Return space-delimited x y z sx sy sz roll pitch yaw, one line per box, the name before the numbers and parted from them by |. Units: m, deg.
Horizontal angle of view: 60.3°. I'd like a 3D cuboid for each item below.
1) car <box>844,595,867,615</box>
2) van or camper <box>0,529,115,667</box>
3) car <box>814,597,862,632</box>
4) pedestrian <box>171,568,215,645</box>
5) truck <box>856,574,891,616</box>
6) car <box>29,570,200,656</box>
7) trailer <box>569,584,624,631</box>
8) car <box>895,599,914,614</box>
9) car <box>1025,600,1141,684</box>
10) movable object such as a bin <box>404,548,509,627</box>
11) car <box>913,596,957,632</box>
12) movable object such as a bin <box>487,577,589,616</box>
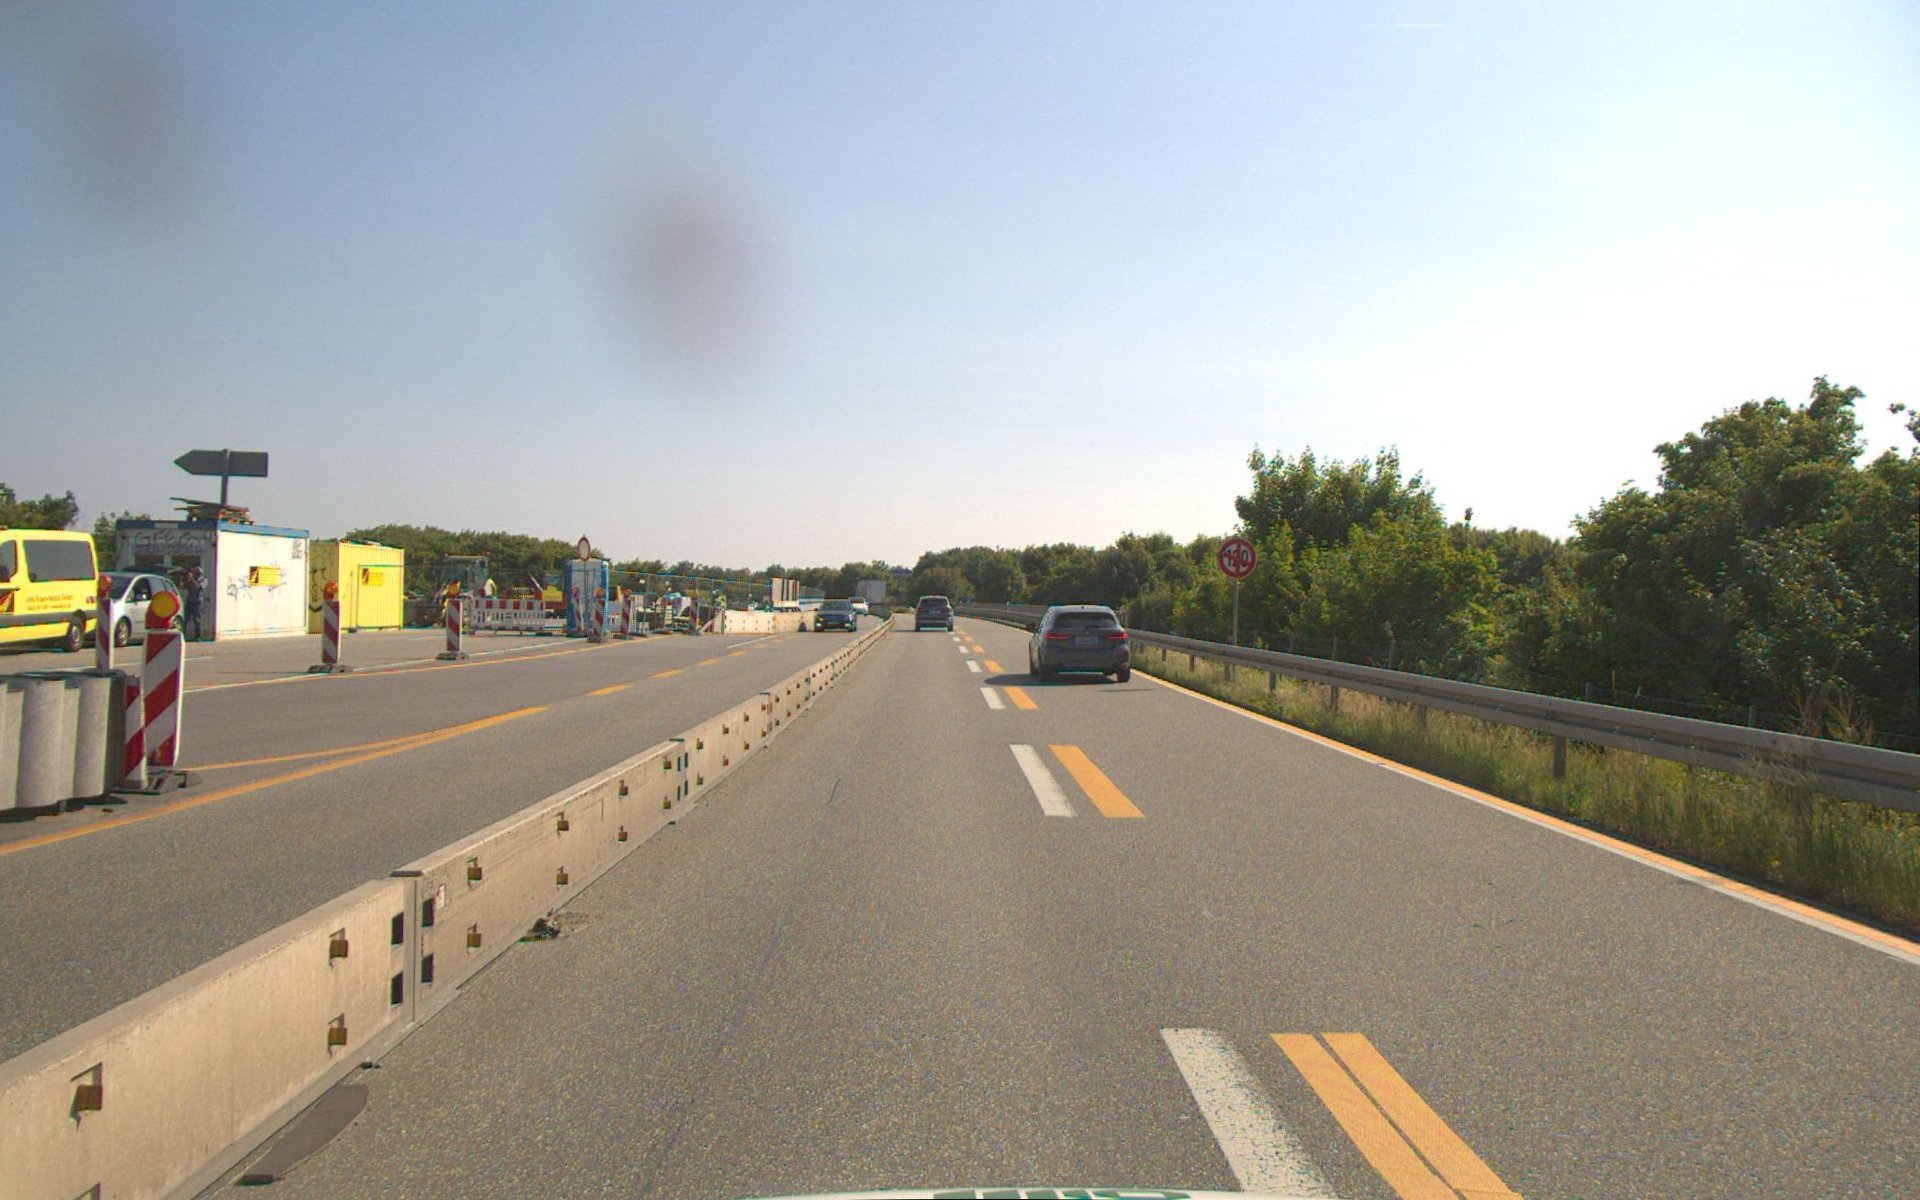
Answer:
car | -9.238 0.415 146.615 1.942 1.680 4.545 1 0 -4
van or camper | -17.985 -0.069 30.711 1.955 2.419 6.193 1 0 -6
car | -5.513 0.642 75.226 1.821 1.499 4.684 1 0 0
pedestrian | -18.103 0.143 39.038 0.708 1.792 0.720 0 0 -2
truck | -10.992 -0.637 208.947 3.688 4.997 14.120 1 0 -5
car | -18.334 0.266 36.104 1.654 1.715 4.455 1 0 -4
trailer | -13.903 0.265 63.381 1.687 1.677 3.528 2 0 -7
car | -6.858 0.793 203.945 1.956 1.717 3.992 1 0 -8
car | 2.375 0.783 32.871 1.881 1.520 3.998 1 0 -2
movable object such as a bin | -18.417 -0.470 60.799 1.988 2.763 5.110 0 0 4
car | -1.139 0.637 76.524 1.953 1.594 4.000 0 0 0
movable object such as a bin | -24.245 -0.210 95.086 5.279 2.153 2.239 0 0 18
